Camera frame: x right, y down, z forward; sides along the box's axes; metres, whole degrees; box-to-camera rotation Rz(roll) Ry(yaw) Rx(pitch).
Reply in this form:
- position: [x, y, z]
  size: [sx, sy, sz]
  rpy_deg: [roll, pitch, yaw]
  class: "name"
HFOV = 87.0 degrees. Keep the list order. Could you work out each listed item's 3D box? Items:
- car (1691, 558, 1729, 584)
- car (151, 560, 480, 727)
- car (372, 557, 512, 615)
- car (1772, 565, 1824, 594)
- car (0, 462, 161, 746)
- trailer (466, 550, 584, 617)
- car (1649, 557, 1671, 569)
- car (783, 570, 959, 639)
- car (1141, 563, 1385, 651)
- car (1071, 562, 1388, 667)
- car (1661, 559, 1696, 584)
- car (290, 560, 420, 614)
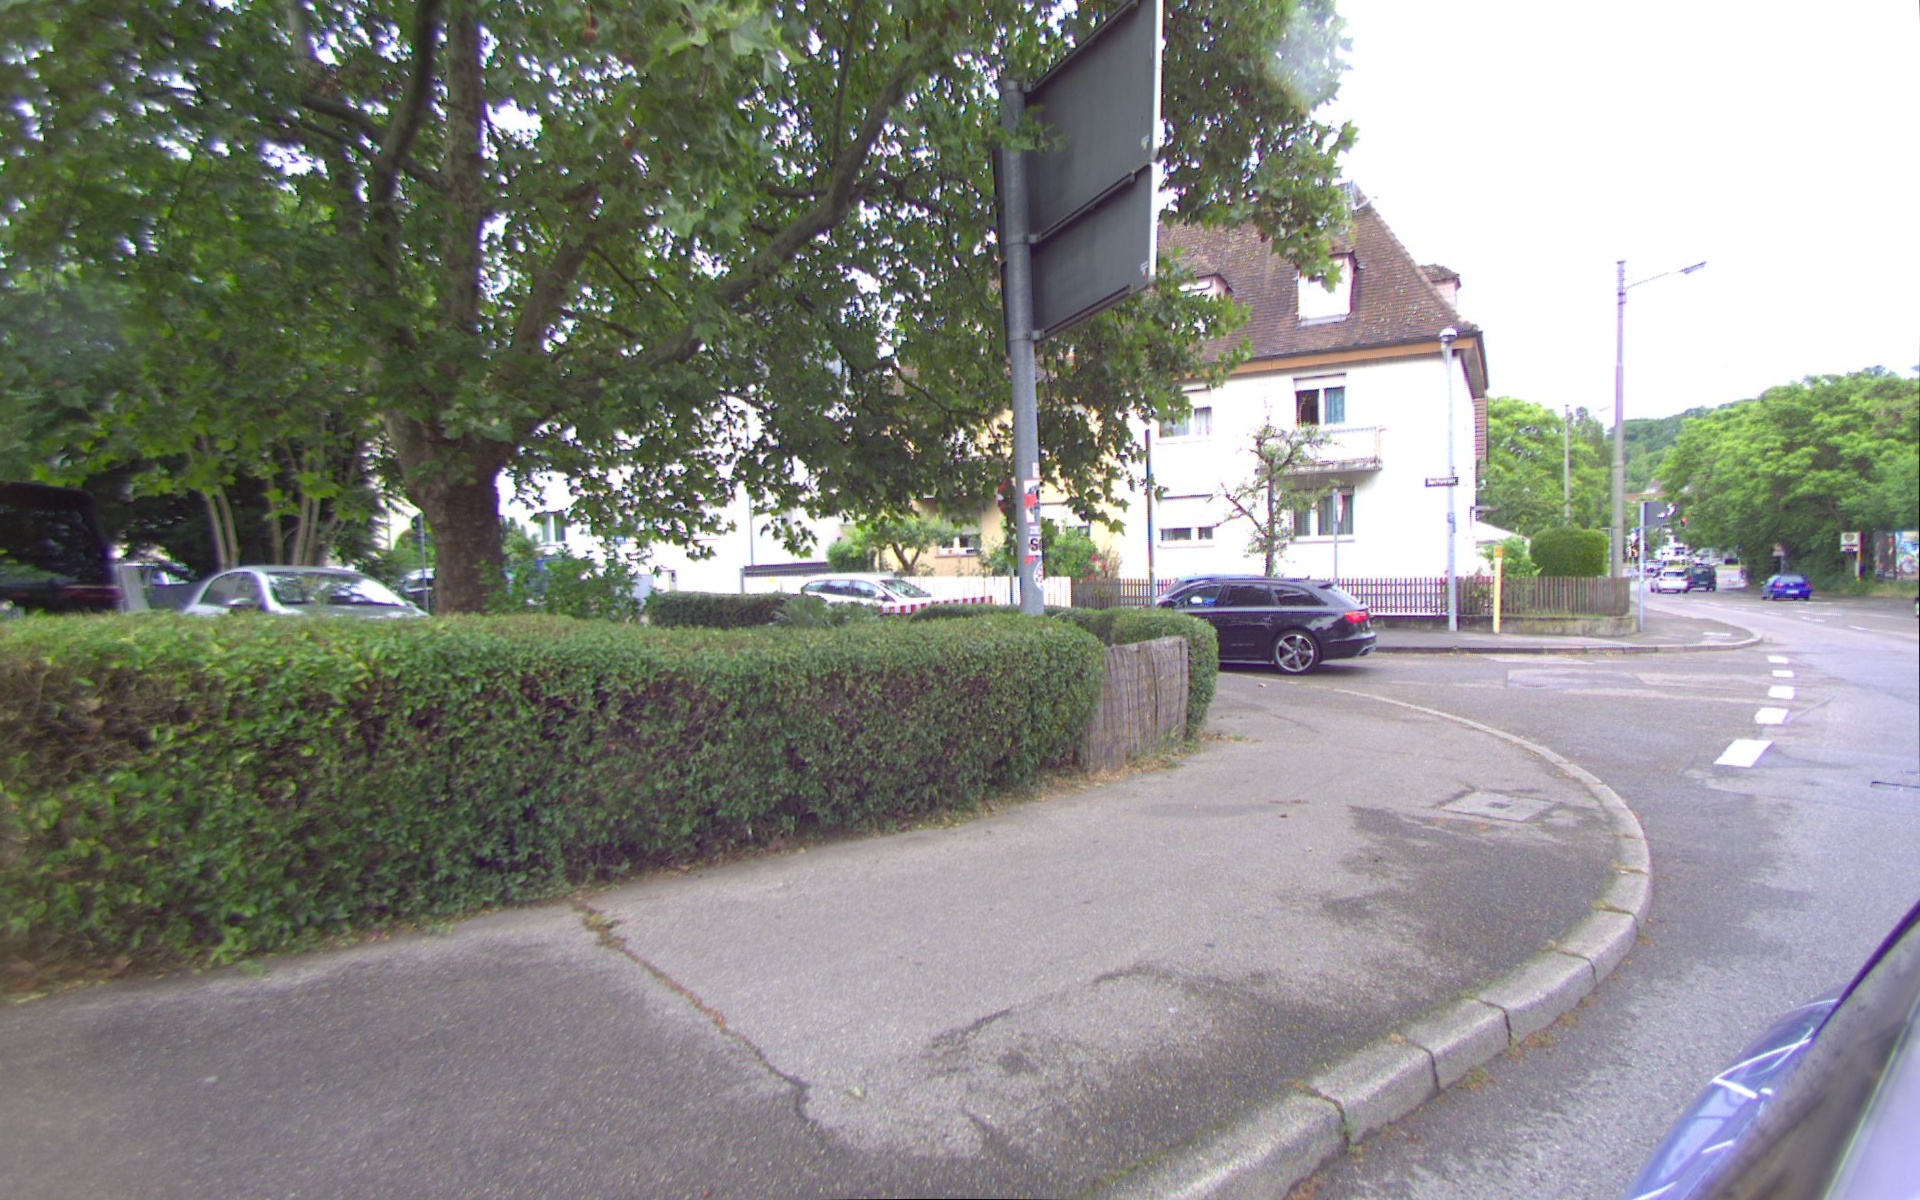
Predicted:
- position: [58.247, -2.271, 78.648]
  size: [1.949, 1.955, 4.632]
  rpy_deg: [1, 2, 32]
  class: "car"
- position: [-7.441, 0.361, 11.582]
  size: [3.974, 1.599, 1.800]
  rpy_deg: [1, 2, 35]
  class: "car"
- position: [-17.502, -0.499, 34.182]
  size: [4.535, 1.862, 1.982]
  rpy_deg: [1, 2, 28]
  class: "car"
- position: [44.873, -1.076, 54.274]
  size: [1.590, 1.444, 3.655]
  rpy_deg: [0, -1, 31]
  class: "car"
- position: [-8.531, -0.001, 7.985]
  size: [4.376, 1.956, 1.980]
  rpy_deg: [1, 2, 29]
  class: "car"
- position: [-13.919, -0.557, 32.374]
  size: [3.456, 2.038, 1.657]
  rpy_deg: [1, 1, 26]
  class: "trailer"
- position: [88.168, -4.602, 127.447]
  size: [1.884, 1.479, 3.960]
  rpy_deg: [1, 2, 29]
  class: "car"
- position: [-2.077, 0.057, 23.403]
  size: [3.752, 1.471, 1.754]
  rpy_deg: [1, 1, 30]
  class: "car"
- position: [5.693, 0.054, 19.153]
  size: [4.095, 1.498, 1.865]
  rpy_deg: [2, 2, 32]
  class: "car"
- position: [4.377, 0.149, 16.549]
  size: [4.768, 1.498, 1.870]
  rpy_deg: [1, 2, 25]
  class: "car"
- position: [50.587, -2.023, 71.307]
  size: [1.823, 1.598, 4.285]
  rpy_deg: [0, 2, 33]
  class: "car"
- position: [-22.070, -0.513, 36.897]
  size: [4.535, 1.862, 1.982]
  rpy_deg: [1, 2, 28]
  class: "car"
